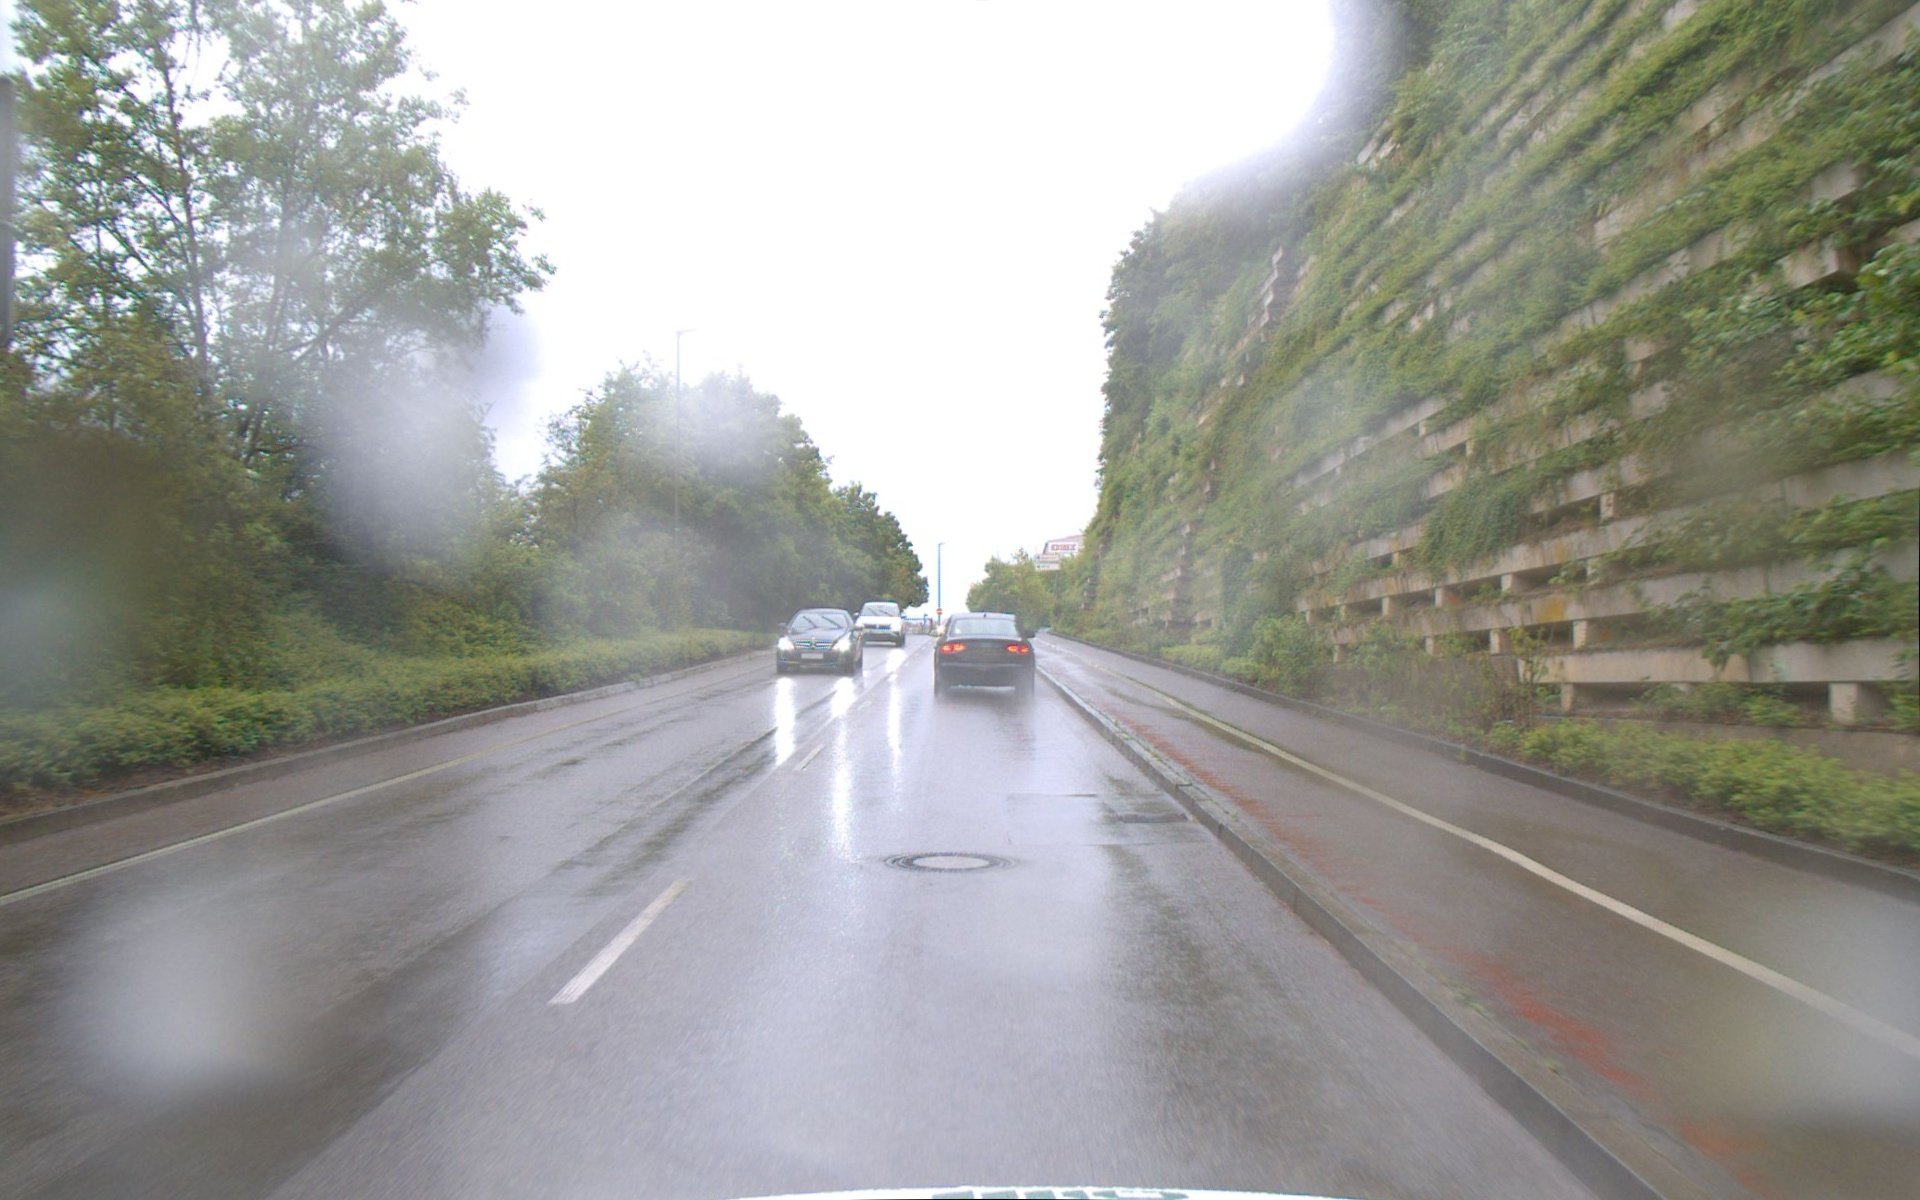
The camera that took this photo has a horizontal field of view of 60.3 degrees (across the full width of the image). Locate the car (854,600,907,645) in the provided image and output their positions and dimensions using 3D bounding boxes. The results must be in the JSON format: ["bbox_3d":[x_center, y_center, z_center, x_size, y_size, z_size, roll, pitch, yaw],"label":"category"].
[{"bbox_3d":[-3.012,0.831,63.442,1.785,1.643,4.093,1,0,0],"label":"car"}]

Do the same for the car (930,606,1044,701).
[{"bbox_3d":[0.503,0.887,29.473,1.853,1.518,4.208,2,0,1],"label":"car"}]

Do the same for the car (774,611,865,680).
[{"bbox_3d":[-3.188,0.999,38.302,1.827,1.474,4.376,0,0,-2],"label":"car"}]

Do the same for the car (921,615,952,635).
[{"bbox_3d":[-1.754,1.881,124.948,1.951,1.388,4.253,1,0,4],"label":"car"}]
